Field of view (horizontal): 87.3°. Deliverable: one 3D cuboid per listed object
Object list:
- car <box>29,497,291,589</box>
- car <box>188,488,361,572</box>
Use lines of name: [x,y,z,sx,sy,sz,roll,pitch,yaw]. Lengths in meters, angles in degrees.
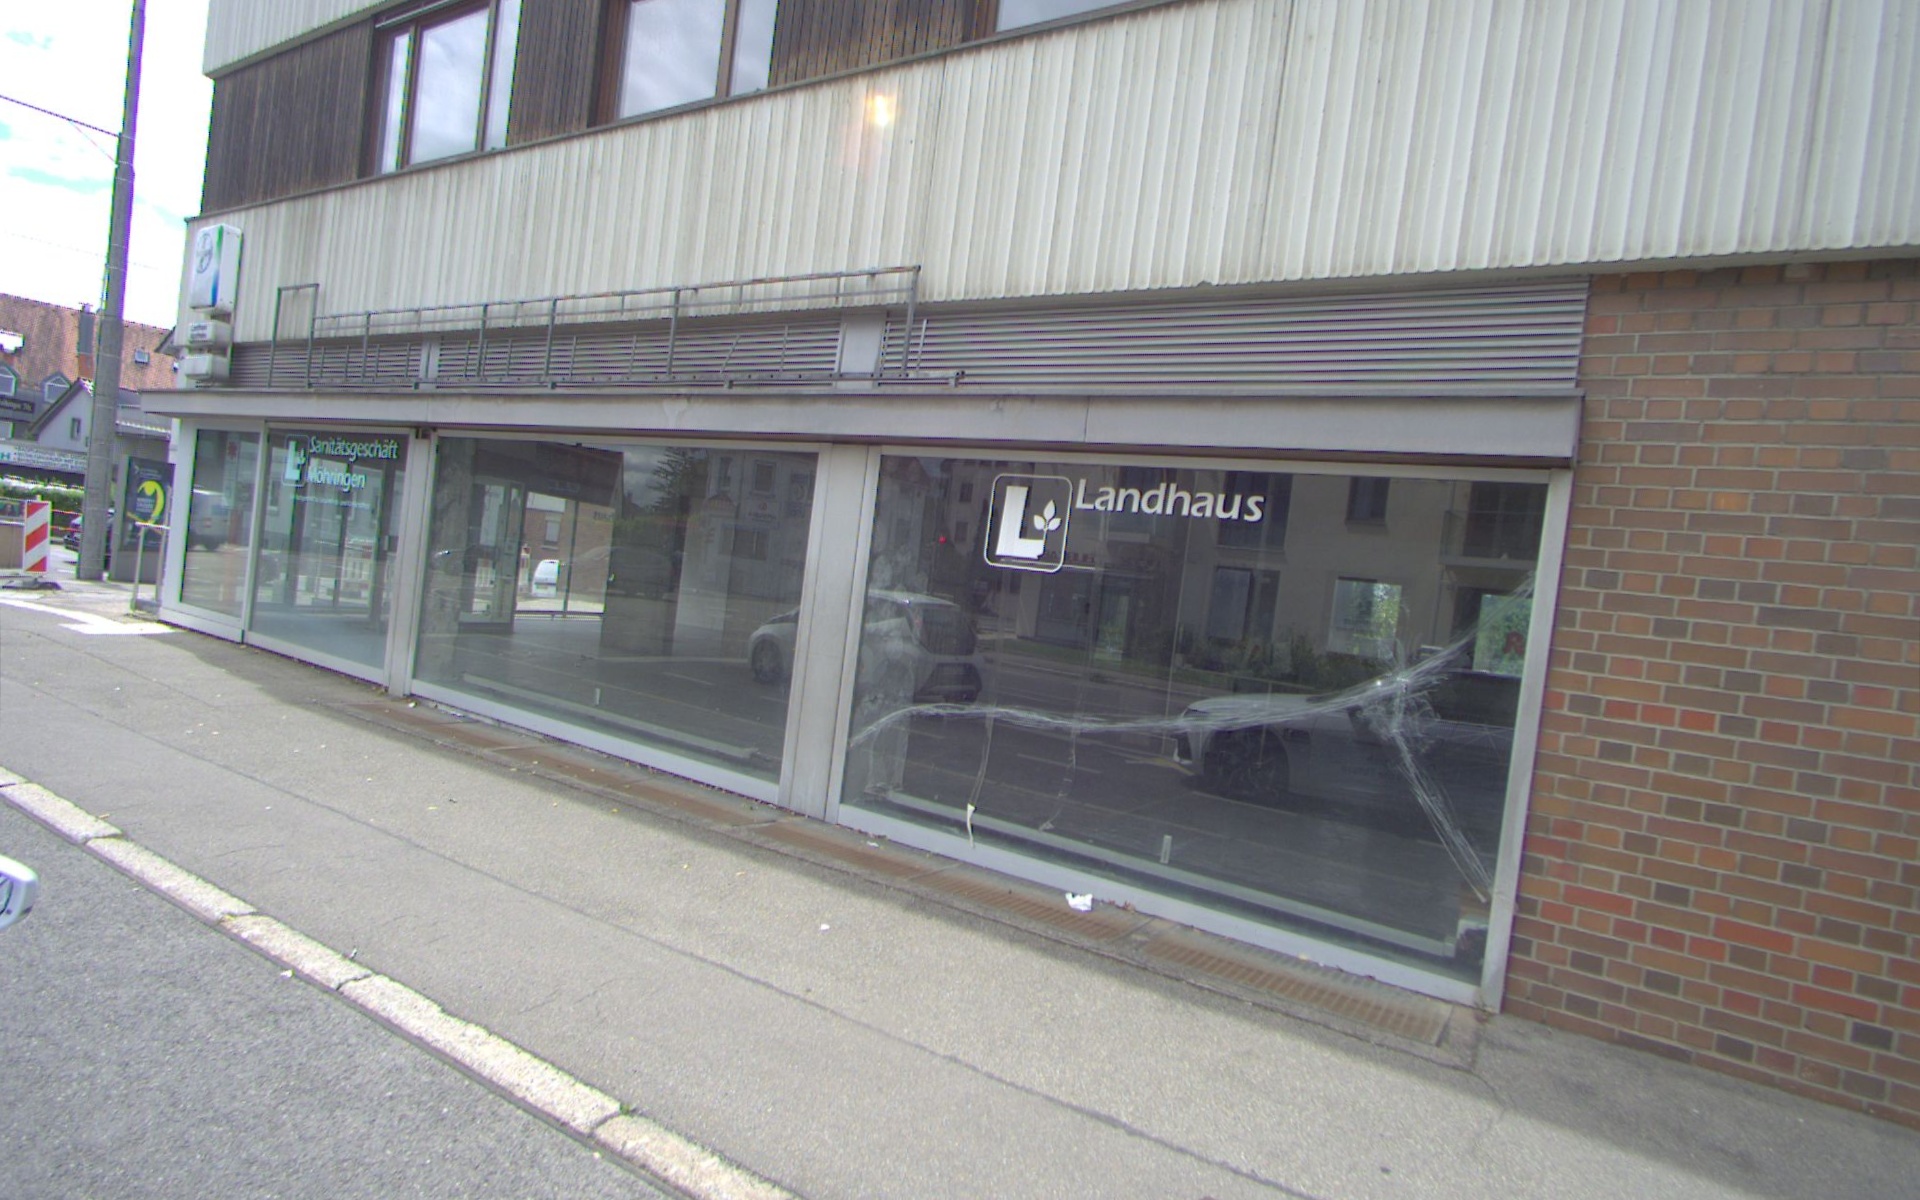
car: [-20.696,-1.409,26.320,1.964,1.596,4.913,7,-2,24]
car: [-20.934,-2.075,30.937,3.953,1.859,1.988,9,-2,-26]
